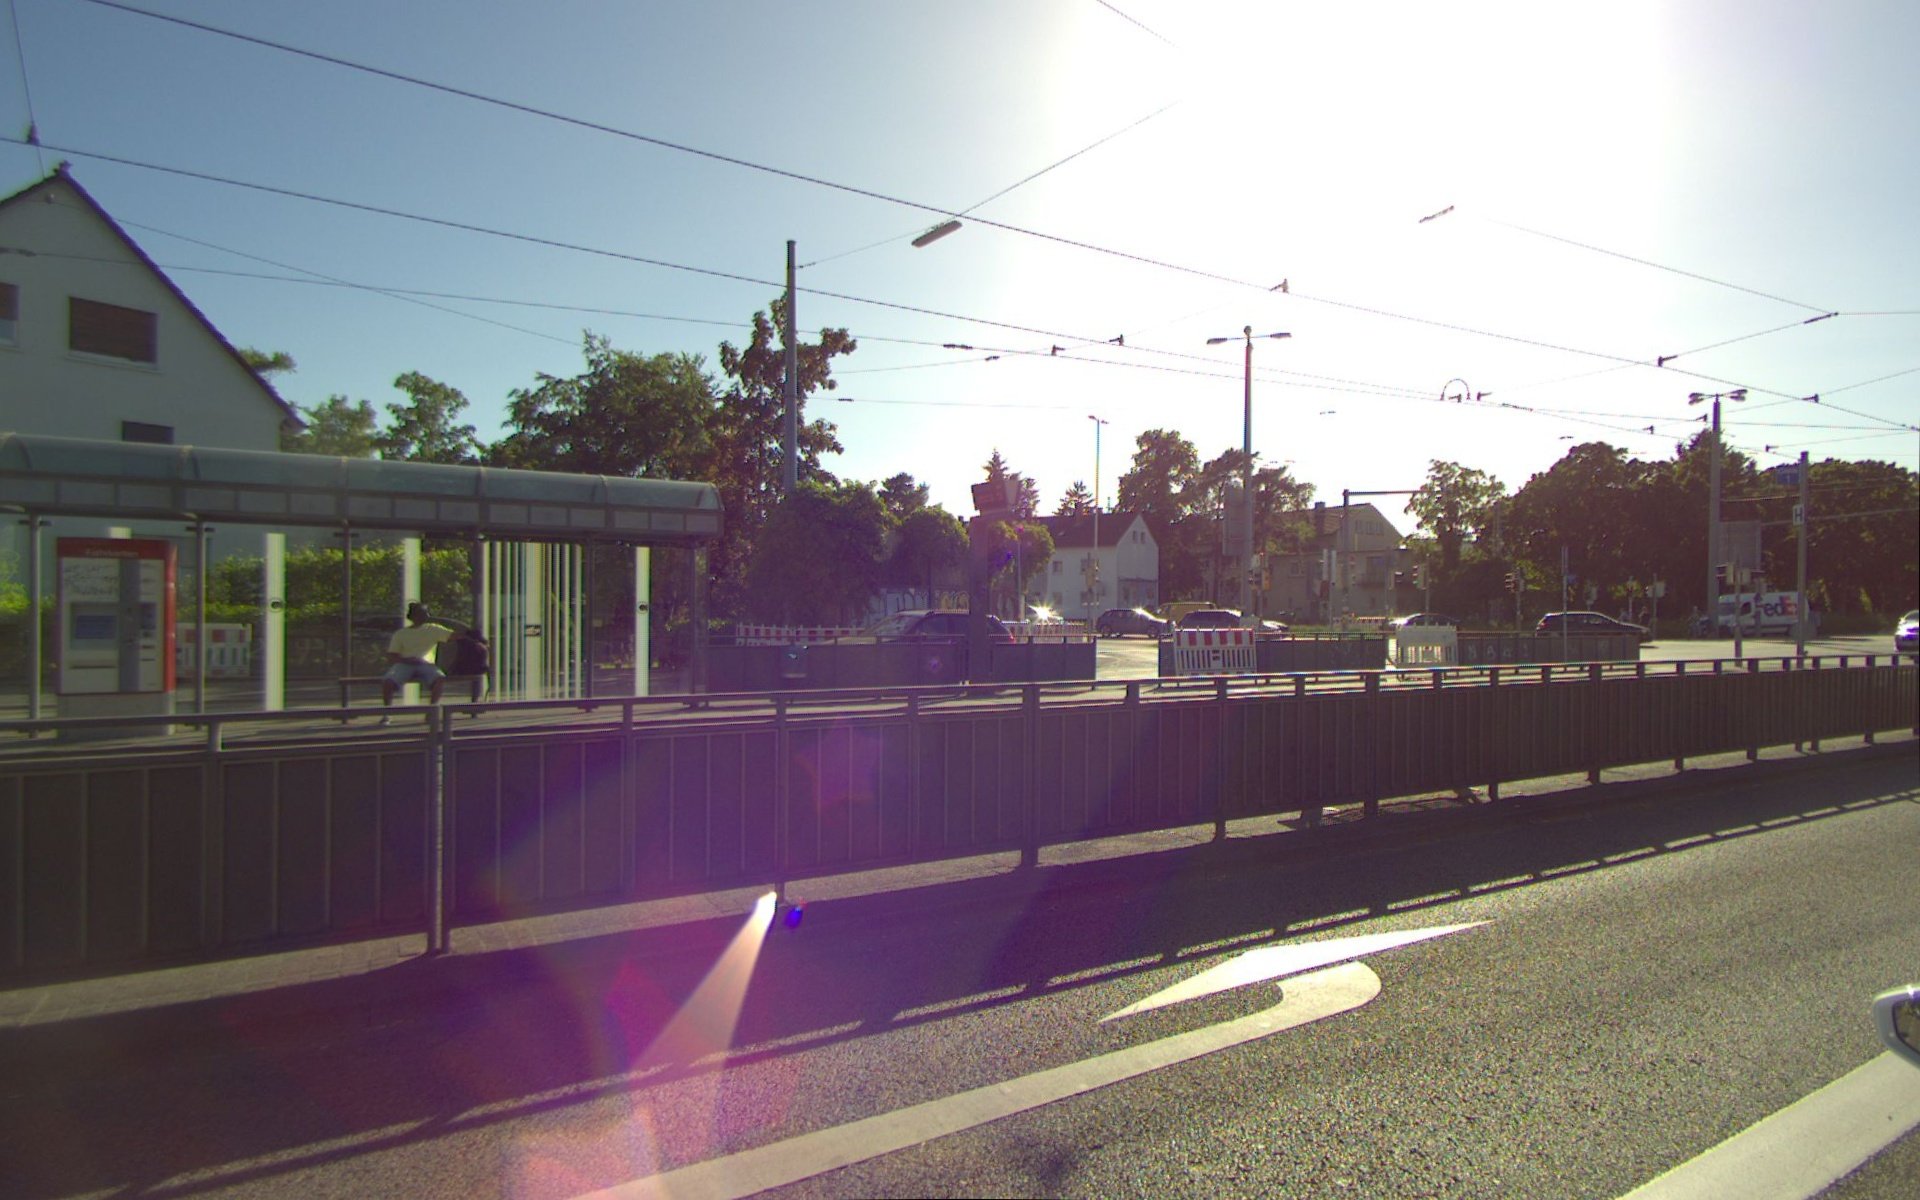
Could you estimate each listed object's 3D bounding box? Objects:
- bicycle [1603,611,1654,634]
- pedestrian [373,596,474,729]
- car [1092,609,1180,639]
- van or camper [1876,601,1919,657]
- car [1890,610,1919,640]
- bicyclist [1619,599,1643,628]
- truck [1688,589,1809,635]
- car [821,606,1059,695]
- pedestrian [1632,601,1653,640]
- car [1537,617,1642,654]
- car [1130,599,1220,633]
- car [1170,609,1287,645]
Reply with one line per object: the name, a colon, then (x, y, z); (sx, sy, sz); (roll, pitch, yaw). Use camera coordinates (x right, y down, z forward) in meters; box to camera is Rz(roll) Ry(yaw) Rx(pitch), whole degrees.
bicycle: (38.486, 1.293, 57.822); (2.370, 1.279, 0.813); (0, 0, 43)
pedestrian: (-6.365, 0.714, 11.905); (0.995, 1.472, 1.055); (1, -1, -30)
car: (8.856, 1.176, 50.764); (4.104, 1.451, 1.589); (0, -1, 34)
van or camper: (34.374, 0.975, 33.171); (5.866, 1.852, 2.001); (0, 0, 13)
car: (51.472, 1.314, 53.782); (3.963, 1.569, 1.819); (1, -1, -37)
bicyclist: (38.558, 0.762, 57.721); (0.995, 1.669, 0.813); (0, 0, 43)
truck: (46.289, 0.737, 58.949); (6.709, 2.599, 1.994); (1, 0, -15)
car: (-0.342, 0.907, 19.259); (4.294, 1.540, 1.727); (1, -1, -31)
pedestrian: (35.881, 1.087, 52.826); (0.785, 2.040, 0.741); (0, 0, -42)
car: (25.912, 1.436, 41.441); (3.613, 1.397, 1.523); (0, -1, 33)
car: (13.417, 0.999, 62.731); (5.084, 1.905, 1.994); (2, 1, 34)
car: (11.884, 1.169, 44.579); (4.755, 1.517, 1.780); (0, -1, 34)
